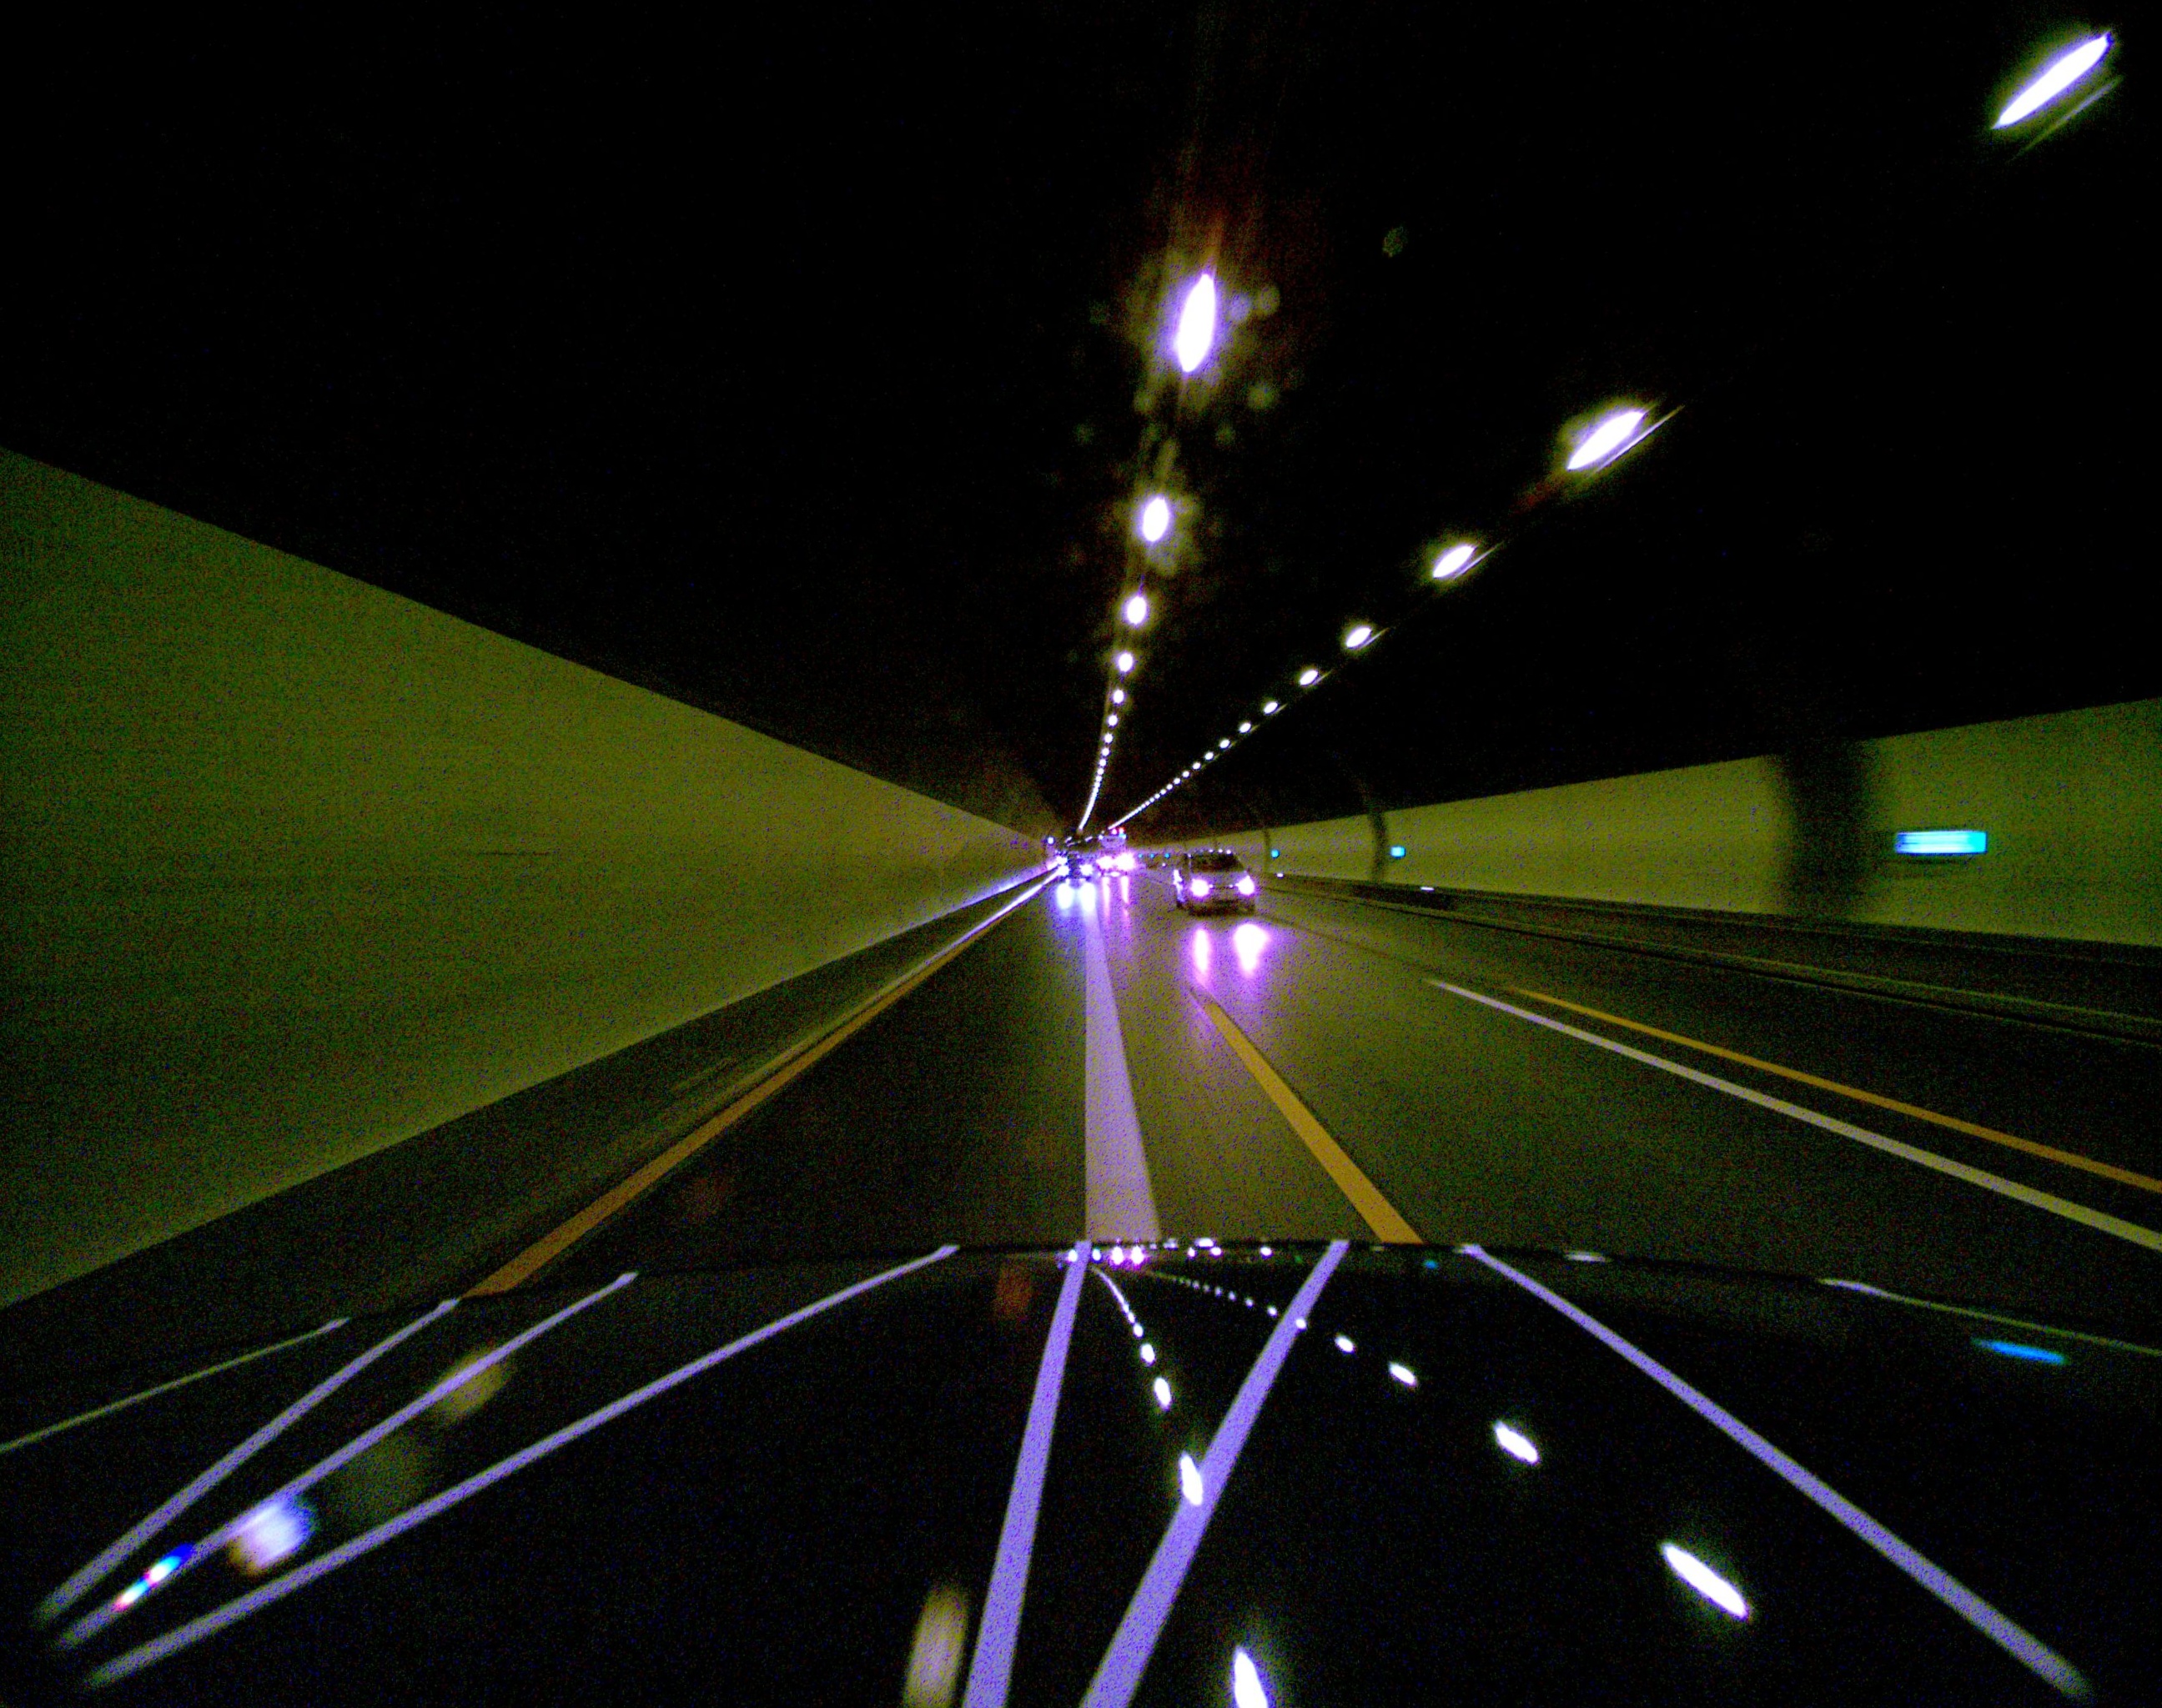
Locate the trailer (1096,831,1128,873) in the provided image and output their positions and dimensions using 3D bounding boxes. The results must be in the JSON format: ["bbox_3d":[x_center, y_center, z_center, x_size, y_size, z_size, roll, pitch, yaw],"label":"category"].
[{"bbox_3d":[2.647,-0.188,67.440,2.374,3.328,12.078,-1,0,0],"label":"trailer"}]

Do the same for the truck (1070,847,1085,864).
[{"bbox_3d":[-0.642,0.313,128.007,2.151,2.609,9.906,-2,-1,-2],"label":"truck"}]

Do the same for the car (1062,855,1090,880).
[{"bbox_3d":[-0.292,0.849,49.376,1.728,1.474,4.000,-2,0,0],"label":"car"}]

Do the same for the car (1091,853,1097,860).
[{"bbox_3d":[4.081,0.752,242.693,1.929,2.002,4.000,-3,0,0],"label":"car"}]

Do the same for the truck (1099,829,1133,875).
[{"bbox_3d":[2.788,-0.182,60.641,2.374,3.328,4.719,-4,0,2],"label":"truck"}]

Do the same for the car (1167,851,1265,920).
[{"bbox_3d":[3.450,0.744,20.139,1.766,1.563,4.096,-2,1,-1],"label":"car"}]
